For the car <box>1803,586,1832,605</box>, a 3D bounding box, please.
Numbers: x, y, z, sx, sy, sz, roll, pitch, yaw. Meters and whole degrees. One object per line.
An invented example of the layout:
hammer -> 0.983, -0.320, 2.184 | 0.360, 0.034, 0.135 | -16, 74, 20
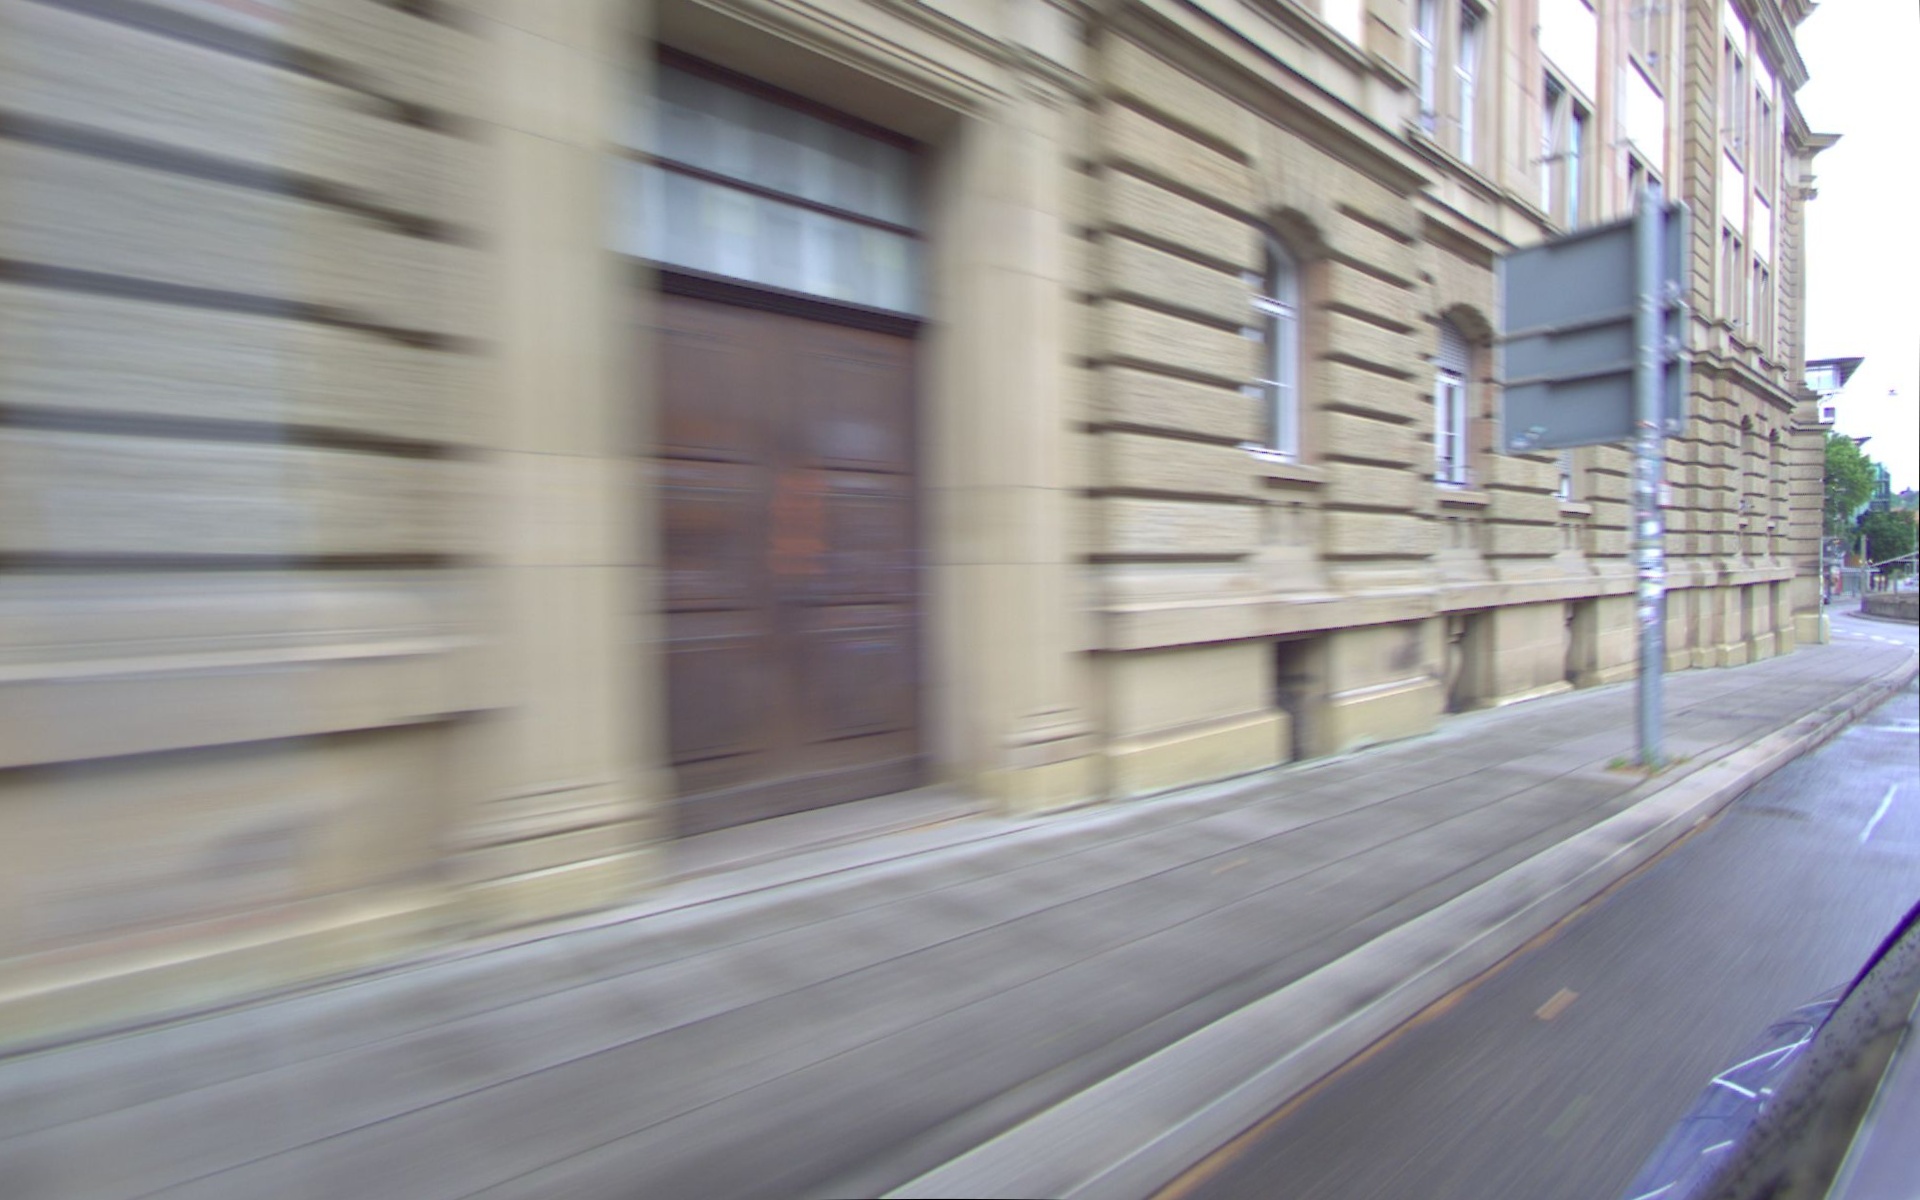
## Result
car -> 90.914, -0.486, 107.316 | 1.987, 1.838, 3.950 | -1, 1, 35
